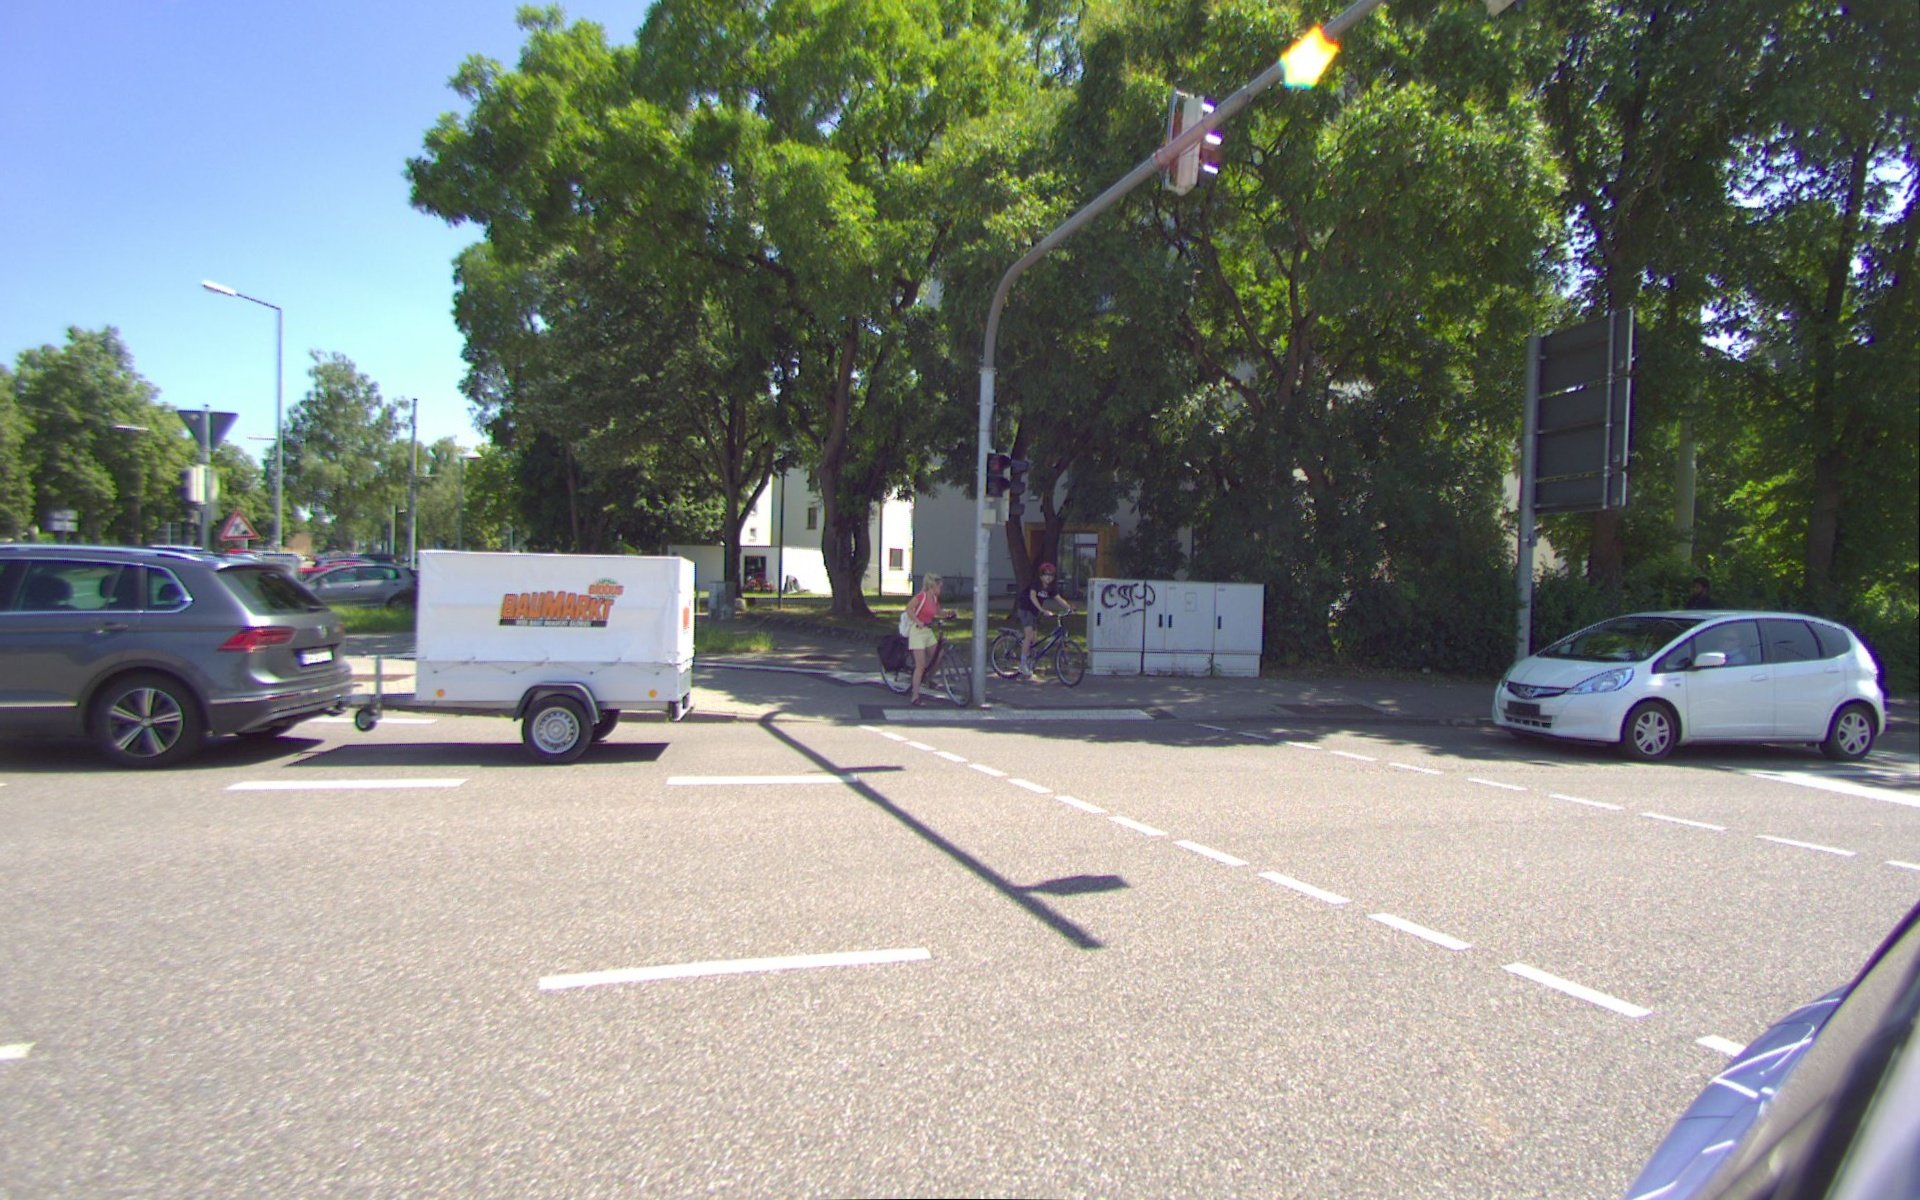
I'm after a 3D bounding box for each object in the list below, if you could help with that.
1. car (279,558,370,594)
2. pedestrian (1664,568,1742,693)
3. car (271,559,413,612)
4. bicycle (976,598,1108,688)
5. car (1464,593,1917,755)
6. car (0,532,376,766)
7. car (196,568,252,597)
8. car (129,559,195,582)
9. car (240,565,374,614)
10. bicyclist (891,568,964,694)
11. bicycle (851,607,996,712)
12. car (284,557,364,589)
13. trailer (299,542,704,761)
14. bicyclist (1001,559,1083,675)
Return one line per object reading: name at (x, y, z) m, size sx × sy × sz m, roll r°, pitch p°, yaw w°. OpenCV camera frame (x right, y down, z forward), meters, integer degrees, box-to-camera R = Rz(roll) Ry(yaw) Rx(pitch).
car at (-28.677, -1.064, 45.761) m, size 3.424 × 1.574 × 1.585 m, roll -1°, pitch 0°, yaw -32°
pedestrian at (11.383, 0.456, 15.514) m, size 0.665 × 1.857 × 0.609 m, roll 1°, pitch 2°, yaw -11°
car at (-17.880, -0.419, 29.304) m, size 3.426 × 1.446 × 1.584 m, roll -1°, pitch 0°, yaw -35°
bicycle at (1.157, 0.584, 14.512) m, size 1.796 × 1.075 × 0.608 m, roll 5°, pitch 4°, yaw 36°
car at (7.691, 0.740, 10.804) m, size 3.817 × 1.524 × 1.735 m, roll 1°, pitch 0°, yaw -11°
car at (-7.339, 0.332, 8.050) m, size 4.317 × 1.679 × 1.734 m, roll 1°, pitch 0°, yaw -9°
car at (-32.394, -0.763, 44.617) m, size 1.553 × 1.242 × 3.496 m, roll -1°, pitch 0°, yaw -29°
car at (-54.993, -2.011, 69.811) m, size 3.424 × 1.495 × 1.585 m, roll -1°, pitch 0°, yaw -32°
car at (-20.387, -0.339, 31.719) m, size 3.424 × 1.446 × 1.585 m, roll -1°, pitch 0°, yaw -32°
bicyclist at (-0.409, 0.363, 12.641) m, size 0.625 × 1.485 × 0.608 m, roll 5°, pitch 4°, yaw 36°
bicycle at (-0.484, 0.704, 12.697) m, size 1.796 × 1.076 × 0.608 m, roll 5°, pitch 4°, yaw 36°
car at (-32.787, -1.379, 52.251) m, size 3.424 × 1.599 × 1.585 m, roll -1°, pitch 0°, yaw -32°
trailer at (-3.741, 0.406, 8.674) m, size 2.877 × 1.675 × 1.411 m, roll 1°, pitch 0°, yaw -10°
bicyclist at (1.171, 0.214, 14.521) m, size 0.904 × 1.563 × 0.639 m, roll 5°, pitch 4°, yaw 36°
